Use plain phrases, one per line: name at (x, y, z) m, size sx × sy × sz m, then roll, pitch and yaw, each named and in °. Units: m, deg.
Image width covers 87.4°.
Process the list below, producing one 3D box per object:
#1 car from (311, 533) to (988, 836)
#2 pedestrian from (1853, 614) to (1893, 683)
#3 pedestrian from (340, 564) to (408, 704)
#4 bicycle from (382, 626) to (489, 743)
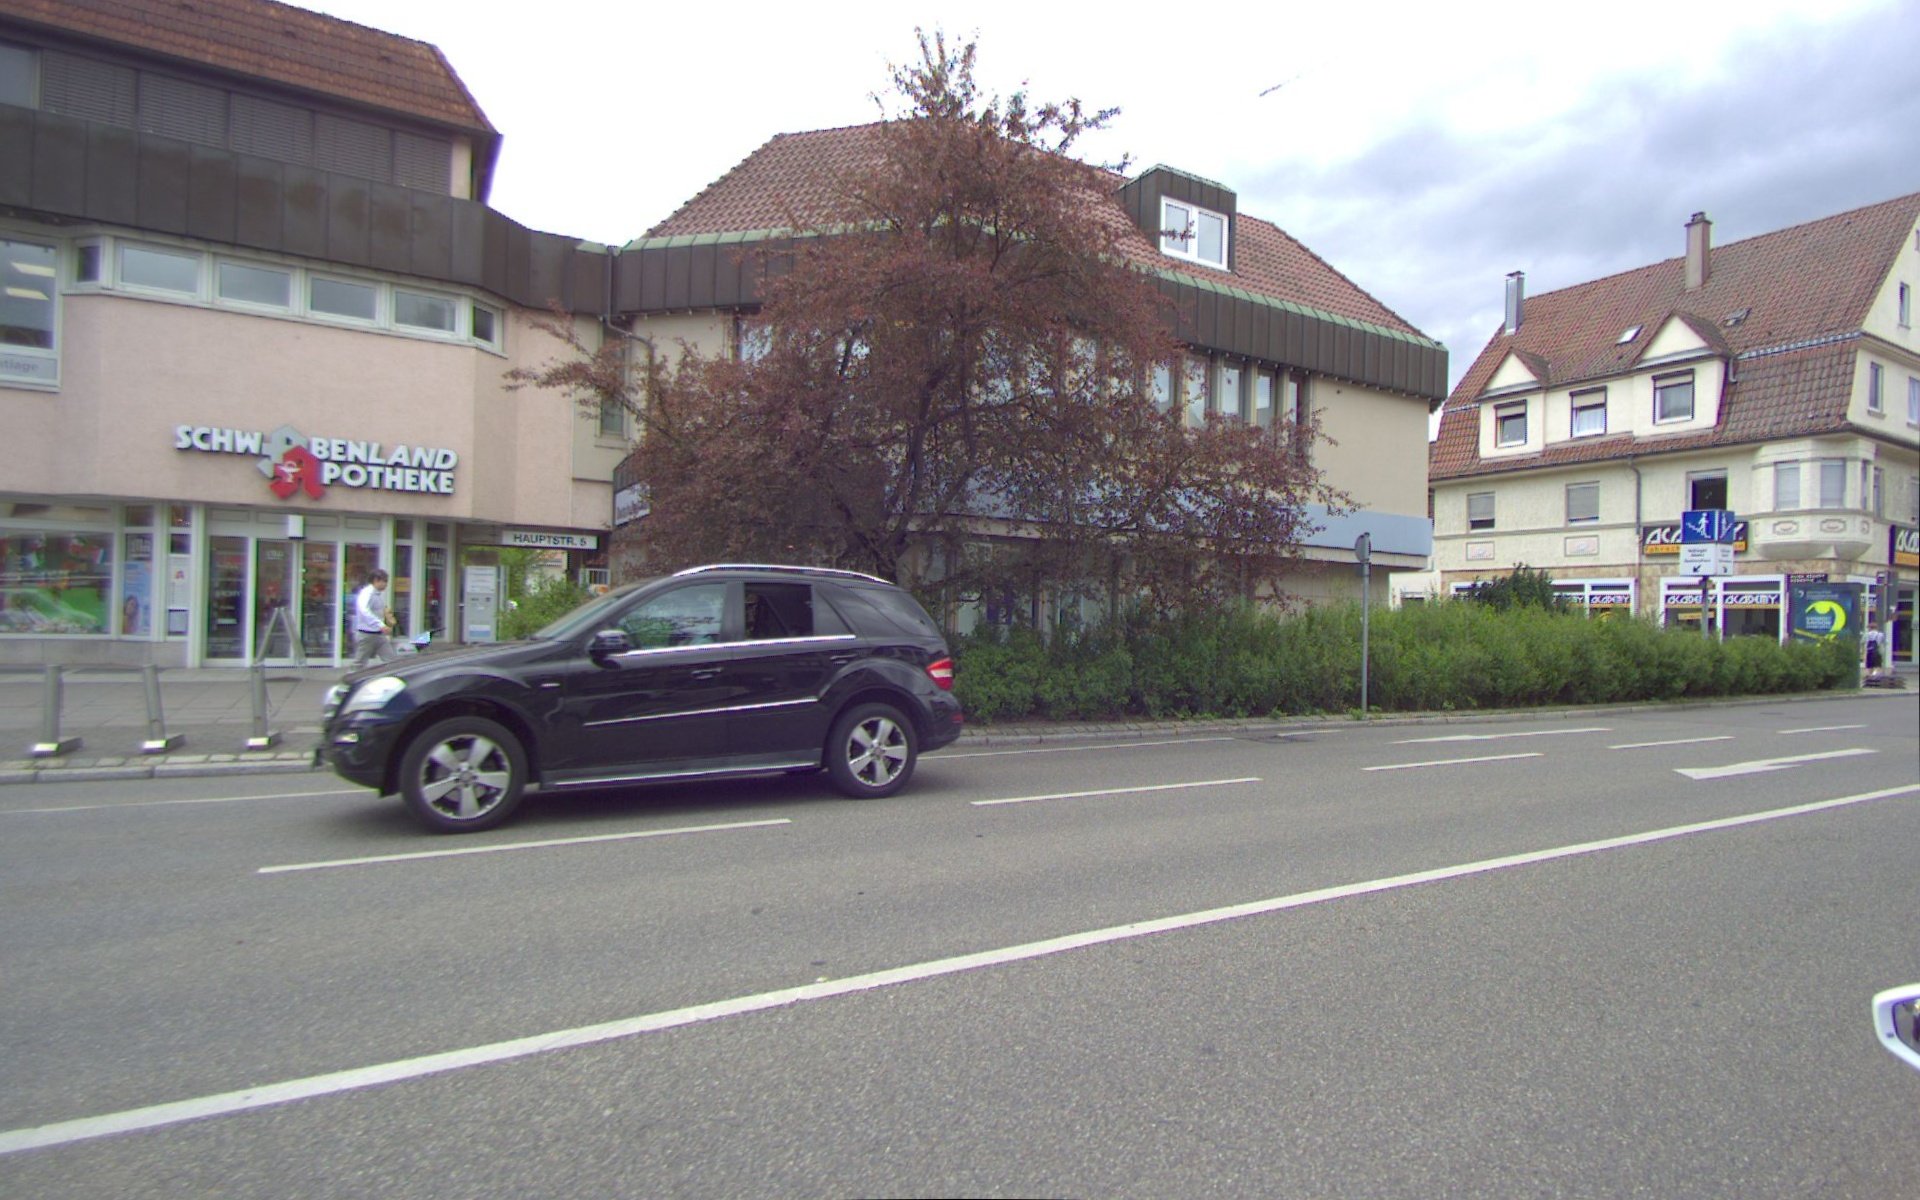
car at (-2.272, 0.580, 7.928) m, size 4.638 × 1.761 × 2.059 m, roll 2°, pitch -3°, yaw -30°
pedestrian at (25.105, 1.323, 27.622) m, size 0.673 × 1.848 × 0.630 m, roll 1°, pitch -1°, yaw -30°
pedestrian at (-7.838, 0.440, 13.425) m, size 0.747 × 1.788 × 0.721 m, roll 1°, pitch 3°, yaw -32°
bicycle at (-5.716, 0.859, 10.893) m, size 0.643 × 1.105 × 2.002 m, roll 1°, pitch -1°, yaw -39°
